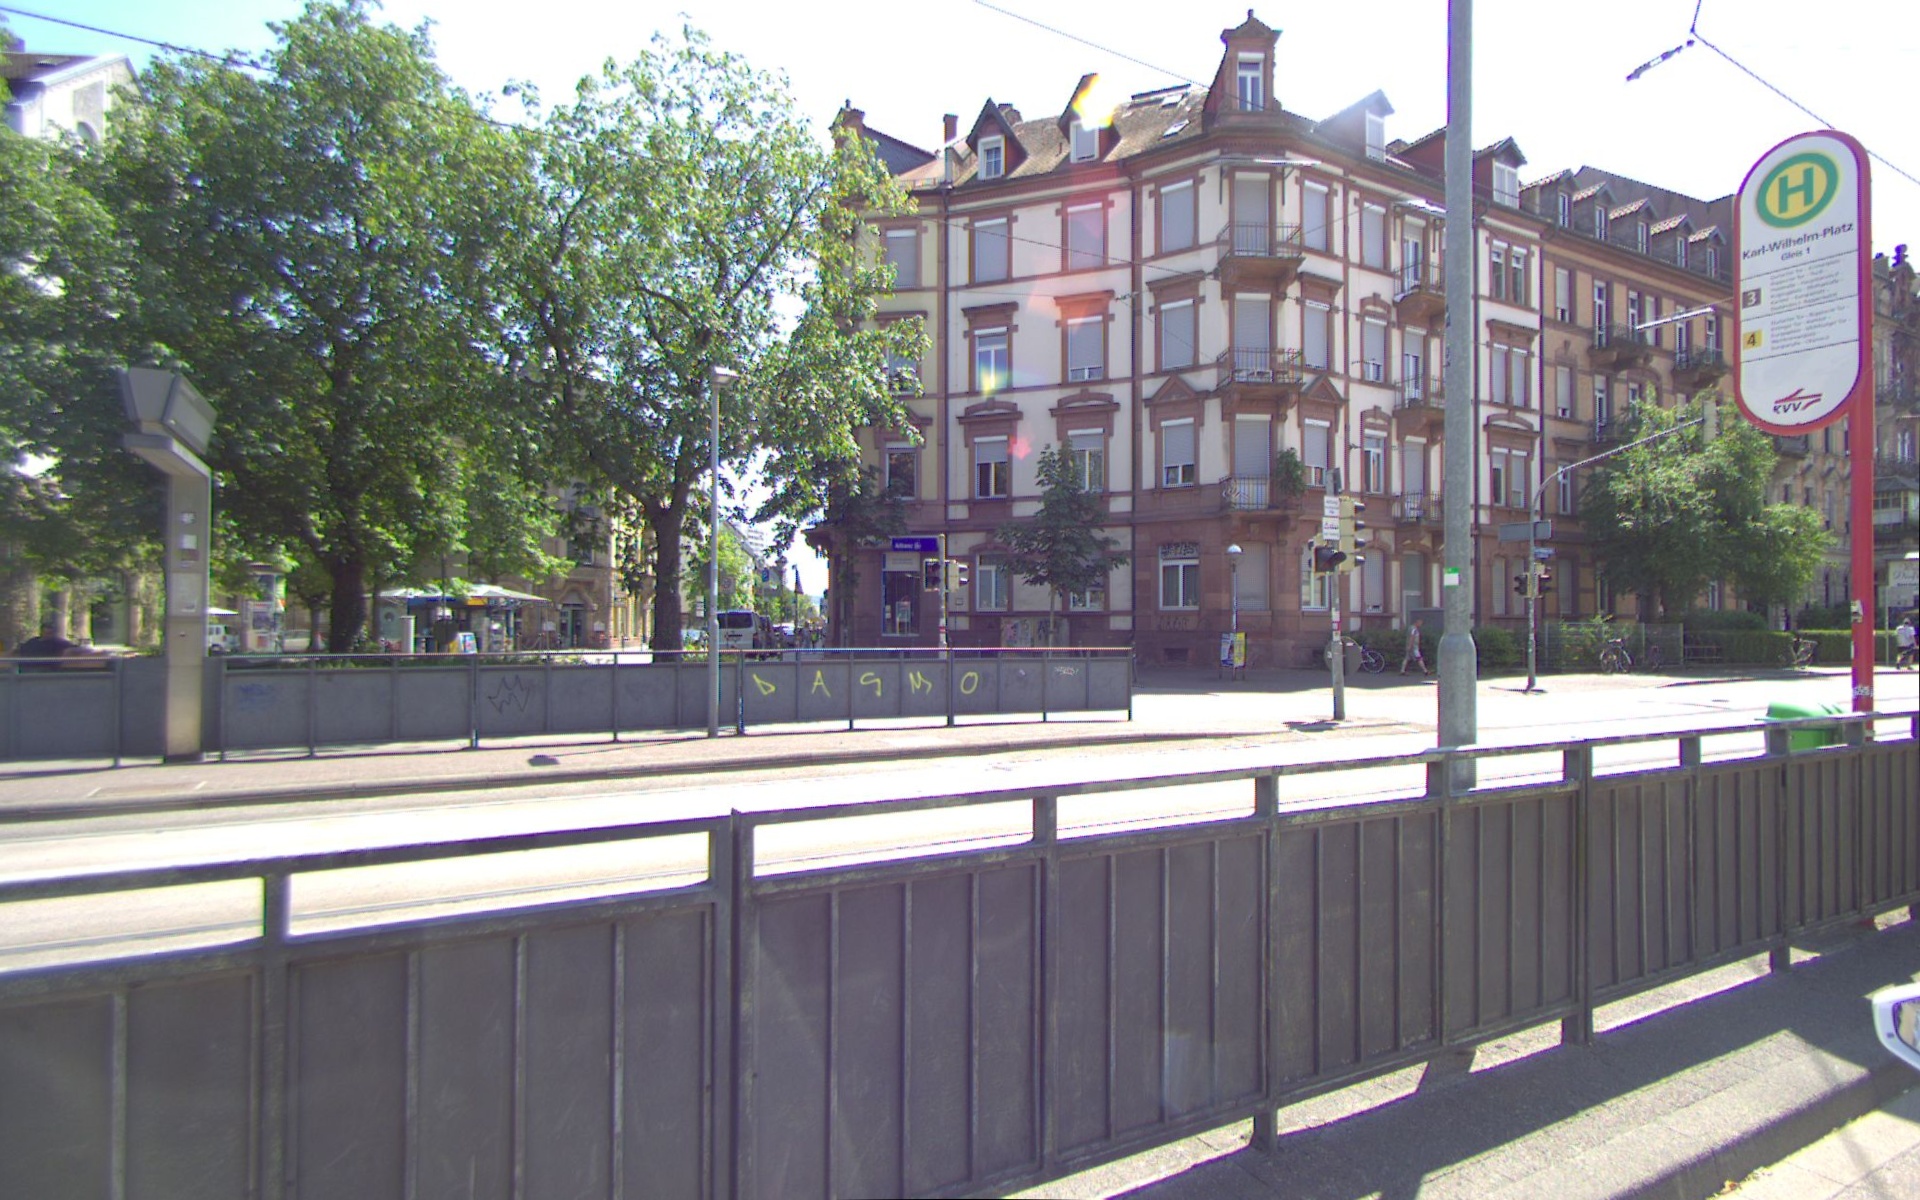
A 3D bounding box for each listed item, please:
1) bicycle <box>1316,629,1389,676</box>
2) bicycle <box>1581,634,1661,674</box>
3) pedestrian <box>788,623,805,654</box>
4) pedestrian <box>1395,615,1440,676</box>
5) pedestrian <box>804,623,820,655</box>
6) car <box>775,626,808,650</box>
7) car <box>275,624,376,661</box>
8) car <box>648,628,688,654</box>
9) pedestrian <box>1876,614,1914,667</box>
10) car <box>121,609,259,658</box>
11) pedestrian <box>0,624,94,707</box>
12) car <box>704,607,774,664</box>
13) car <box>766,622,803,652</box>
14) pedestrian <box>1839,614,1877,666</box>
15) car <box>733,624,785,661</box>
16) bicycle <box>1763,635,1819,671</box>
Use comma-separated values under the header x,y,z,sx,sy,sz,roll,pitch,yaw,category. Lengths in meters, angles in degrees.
x,y,z,sx,sy,sz,roll,pitch,yaw,category
11.664,1.552,29.866,1.923,1.312,0.564,2,0,11,bicycle
20.227,1.640,30.719,2.742,1.151,0.932,2,0,-31,bicycle
-8.562,2.019,52.523,0.790,1.632,0.731,0,-1,-4,pedestrian
13.042,1.293,28.672,1.040,1.712,0.723,0,-1,15,pedestrian
-7.776,2.045,52.751,0.742,1.632,0.688,0,-1,-4,pedestrian
-12.485,2.829,74.761,1.962,1.617,3.998,2,0,-4,car
-32.078,2.146,50.893,3.920,1.730,1.761,2,0,-14,car
-20.661,2.901,71.166,1.846,1.617,3.998,2,0,-4,car
33.469,1.439,35.955,0.864,1.847,0.811,0,1,-34,pedestrian
-31.190,1.355,40.818,3.932,1.814,1.994,2,0,-14,car
-14.661,1.037,16.108,0.925,1.261,0.860,2,0,-24,pedestrian
-8.330,1.290,38.220,1.962,1.970,3.998,2,0,-4,car
-10.375,2.164,59.456,1.684,1.617,3.998,2,0,-4,car
32.656,1.432,36.535,0.864,1.847,0.811,0,1,-34,pedestrian
-9.627,2.000,48.292,1.893,1.541,3.998,2,0,-4,car
28.530,1.798,34.480,2.750,1.151,0.930,2,0,-39,bicycle
